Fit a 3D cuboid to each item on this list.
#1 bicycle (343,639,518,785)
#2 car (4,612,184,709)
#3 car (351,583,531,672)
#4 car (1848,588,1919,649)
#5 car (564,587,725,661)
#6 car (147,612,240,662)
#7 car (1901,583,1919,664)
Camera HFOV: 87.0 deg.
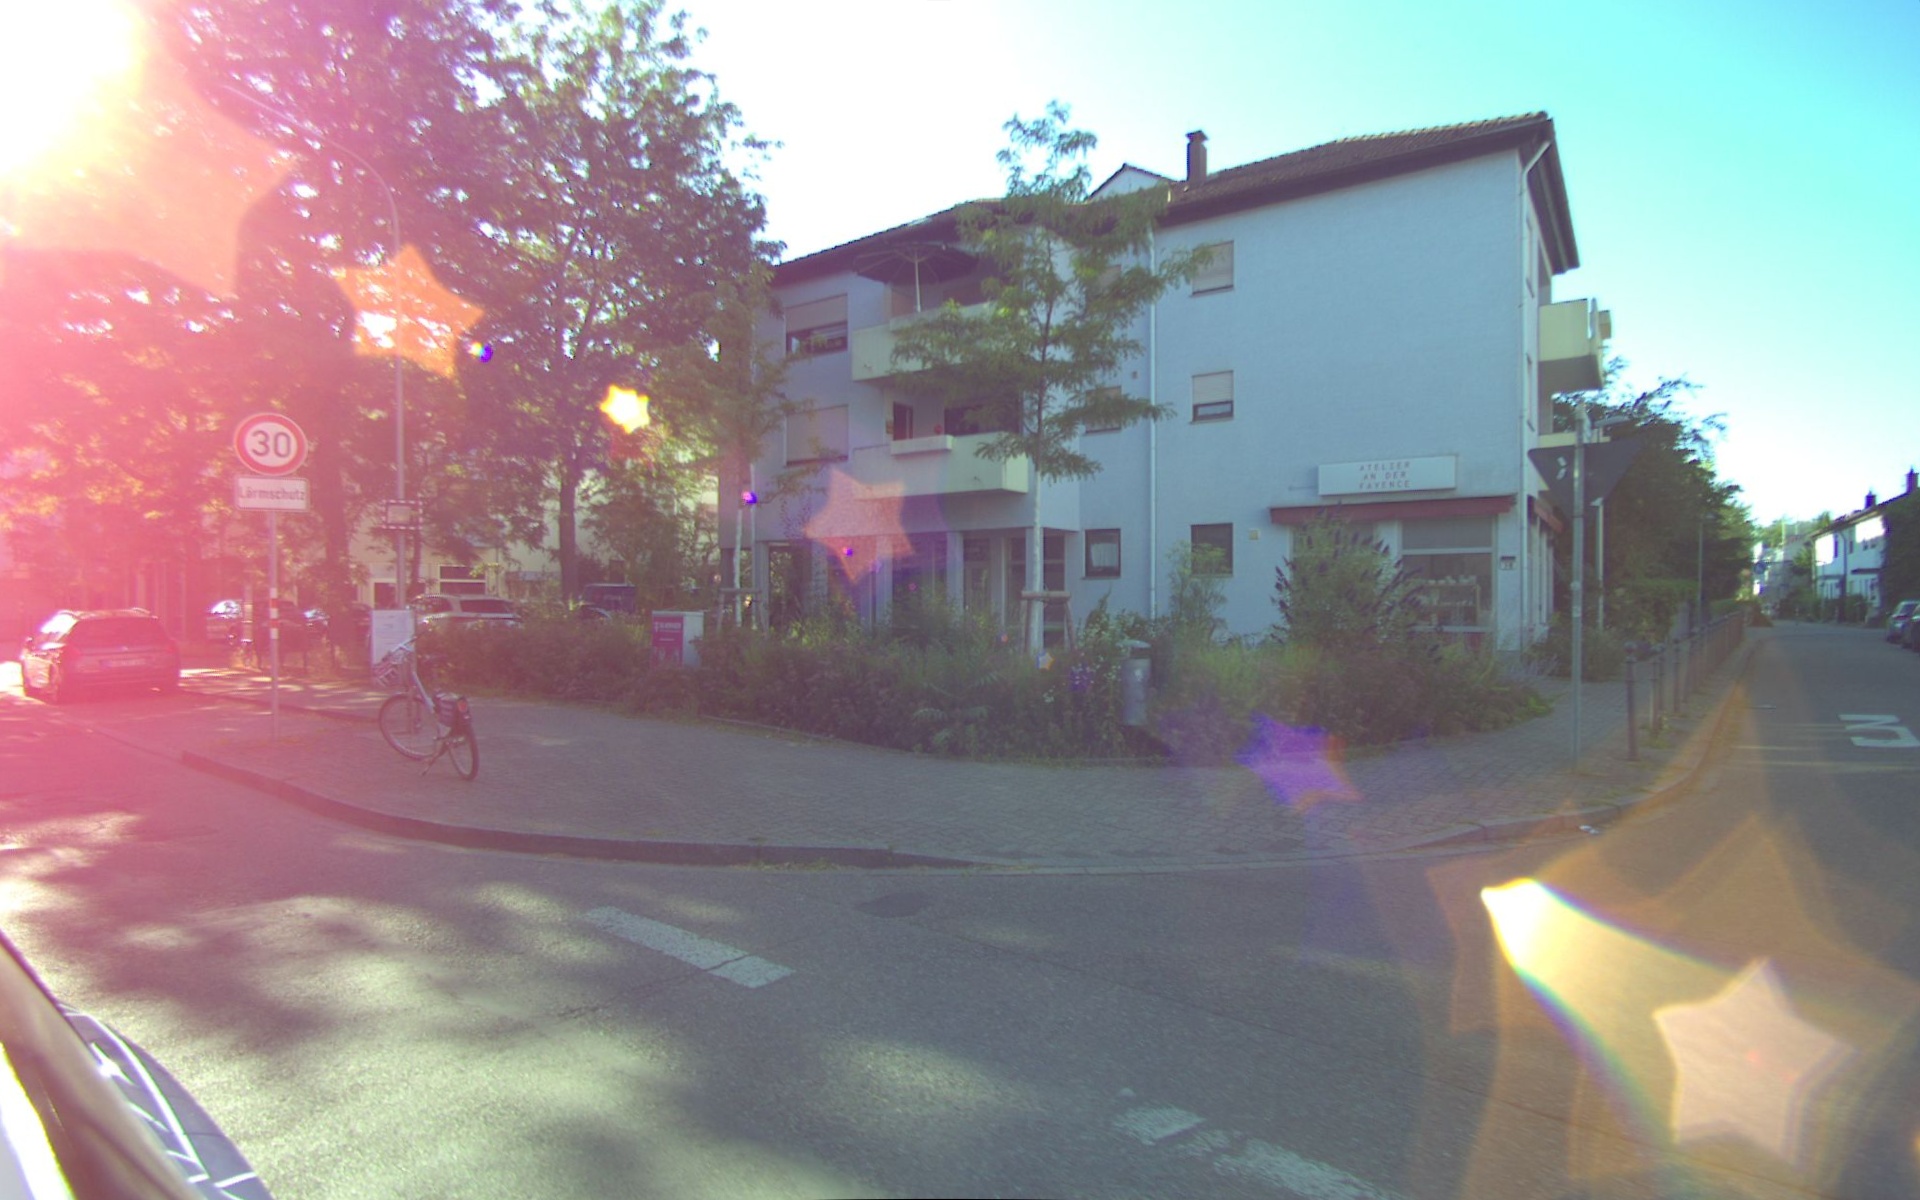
[{"bbox_3d":[-4.392,0.854,8.323,1.941,1.010,0.696,-1,0,44],"label":"bicycle"},{"bbox_3d":[-15.174,0.977,17.670,3.995,1.503,1.680,-1,-1,39],"label":"car"},{"bbox_3d":[-12.389,0.638,24.025,4.896,1.909,1.826,-1,-1,36],"label":"car"},{"bbox_3d":[32.549,0.616,35.352,1.837,2.029,3.632,-1,-1,34],"label":"car"},{"bbox_3d":[-9.023,0.669,28.904,4.304,1.963,2.005,-1,-1,28],"label":"car"},{"bbox_3d":[-23.087,1.063,30.449,3.637,1.419,1.505,-1,-1,41],"label":"car"},{"bbox_3d":[24.839,0.583,25.144,1.560,2.029,3.726,-1,-1,34],"label":"car"}]
